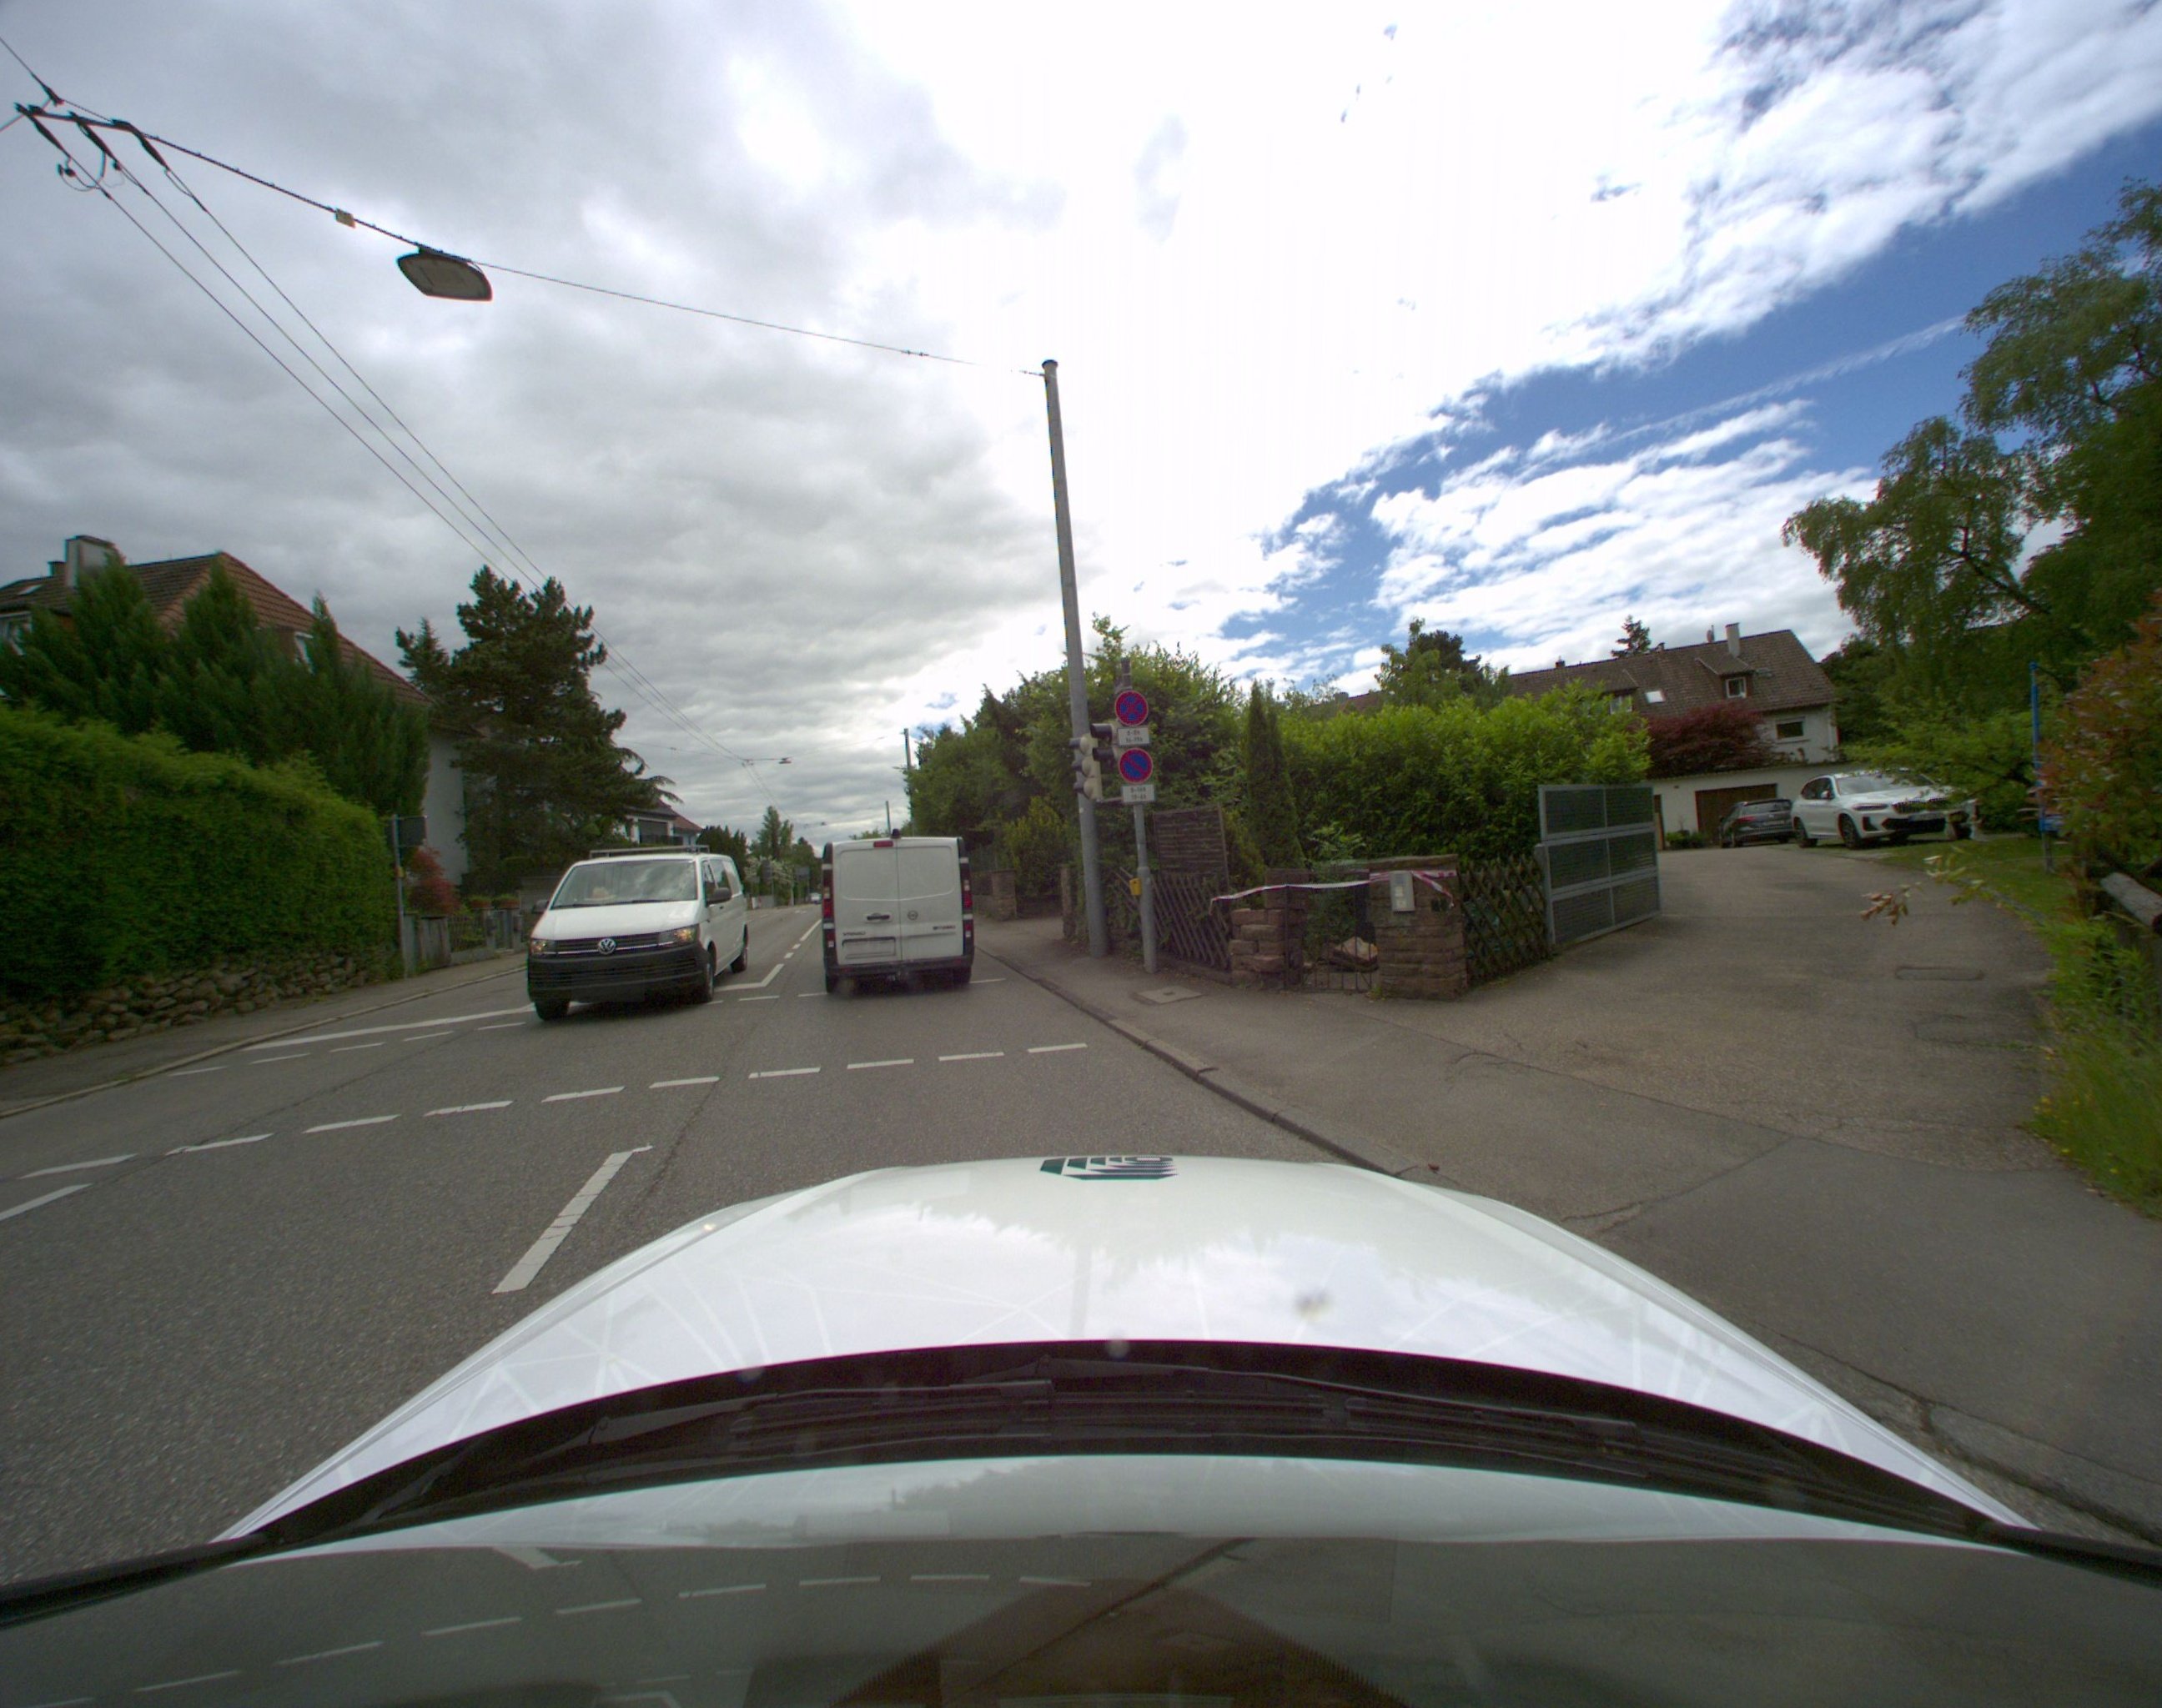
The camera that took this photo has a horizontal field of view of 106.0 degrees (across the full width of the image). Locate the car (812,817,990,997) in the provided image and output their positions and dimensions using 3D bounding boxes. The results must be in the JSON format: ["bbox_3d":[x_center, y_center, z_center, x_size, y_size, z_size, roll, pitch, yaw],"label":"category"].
[{"bbox_3d":[-2.787,0.677,12.106,2.010,2.038,4.982,-2,-1,-16],"label":"car"}]

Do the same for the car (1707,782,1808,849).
[{"bbox_3d":[21.514,-1.145,26.054,1.580,1.511,3.620,-8,-8,27],"label":"car"}]

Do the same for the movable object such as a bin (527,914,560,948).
[{"bbox_3d":[-16.316,2.337,24.737,0.460,0.942,0.649,-4,-1,13],"label":"movable object such as a bin"}]

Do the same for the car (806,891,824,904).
[{"bbox_3d":[-33.584,5.484,102.818,1.814,1.455,4.388,-7,-1,-16],"label":"car"}]

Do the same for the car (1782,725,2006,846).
[{"bbox_3d":[17.182,-1.313,17.539,1.975,2.013,4.310,-8,-3,27],"label":"car"}]

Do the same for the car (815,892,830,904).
[{"bbox_3d":[-37.184,6.350,117.073,1.682,1.556,3.950,-6,-2,-15],"label":"car"}]

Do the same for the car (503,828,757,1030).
[{"bbox_3d":[-5.911,0.861,11.449,1.862,2.047,5.143,-4,0,-16],"label":"car"}]
